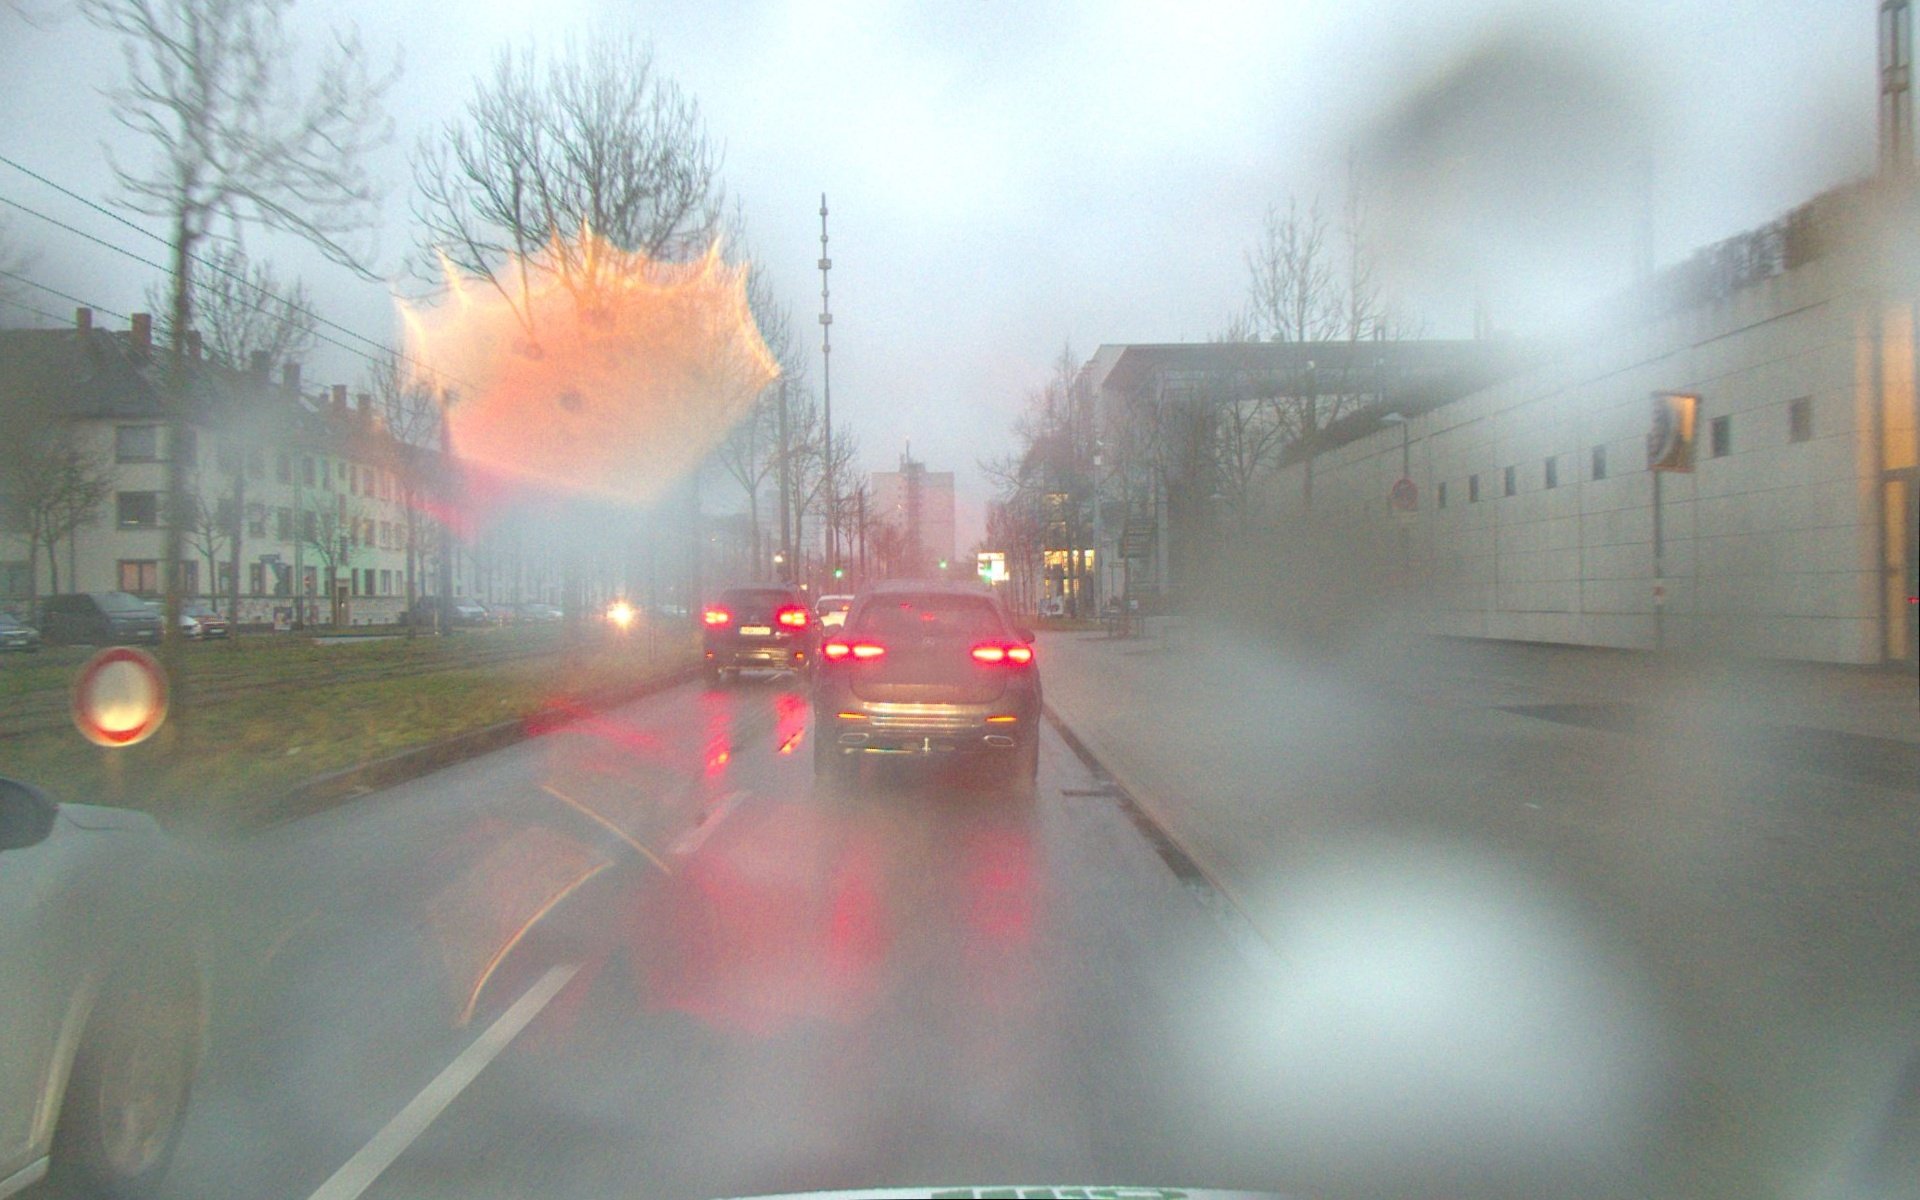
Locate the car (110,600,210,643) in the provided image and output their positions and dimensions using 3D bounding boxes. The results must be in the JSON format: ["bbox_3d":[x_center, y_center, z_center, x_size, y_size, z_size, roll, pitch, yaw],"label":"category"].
[{"bbox_3d":[-27.815,0.732,57.469,3.964,1.251,1.343,3,-1,36],"label":"car"}]

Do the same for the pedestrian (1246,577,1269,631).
[{"bbox_3d":[9.152,0.120,50.870,0.658,1.640,0.615,1,-1,13],"label":"pedestrian"}]

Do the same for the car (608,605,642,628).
[{"bbox_3d":[-22.767,1.097,112.410,1.514,1.530,3.783,1,0,0],"label":"car"}]

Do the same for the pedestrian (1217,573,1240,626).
[{"bbox_3d":[8.452,-0.019,52.037,0.658,1.653,0.615,1,-1,15],"label":"pedestrian"}]

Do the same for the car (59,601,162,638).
[{"bbox_3d":[-27.560,0.643,53.658,2.860,1.007,1.789,3,-1,34],"label":"car"}]

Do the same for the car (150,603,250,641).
[{"bbox_3d":[-28.122,0.804,61.172,4.027,1.181,1.704,3,-1,39],"label":"car"}]

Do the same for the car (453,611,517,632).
[{"bbox_3d":[-27.915,1.252,97.212,3.496,1.161,1.732,1,0,32],"label":"car"}]

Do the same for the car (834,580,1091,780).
[{"bbox_3d":[-0.004,0.633,14.597,1.953,1.509,3.699,1,-1,-1],"label":"car"}]

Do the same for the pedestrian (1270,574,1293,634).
[{"bbox_3d":[9.856,0.132,50.722,0.658,1.809,0.615,1,-1,13],"label":"pedestrian"}]

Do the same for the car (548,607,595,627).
[{"bbox_3d":[-28.009,1.234,119.212,2.874,1.359,1.733,1,0,32],"label":"car"}]

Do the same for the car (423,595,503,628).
[{"bbox_3d":[-28.095,0.641,93.505,4.562,1.754,1.828,1,0,33],"label":"car"}]

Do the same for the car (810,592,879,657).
[{"bbox_3d":[-3.110,0.652,45.128,1.655,1.664,3.473,1,0,-1],"label":"car"}]

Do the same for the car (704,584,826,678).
[{"bbox_3d":[-3.314,0.510,28.709,1.781,1.476,3.998,1,0,-3],"label":"car"}]

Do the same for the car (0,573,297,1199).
[{"bbox_3d":[-2.704,0.680,2.697,1.654,1.500,4.000,1,0,-1],"label":"car"}]

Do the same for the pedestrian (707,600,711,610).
[{"bbox_3d":[-31.240,0.615,206.015,0.343,1.205,0.428,1,-1,-41],"label":"pedestrian"}]

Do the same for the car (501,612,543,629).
[{"bbox_3d":[-28.052,1.305,105.949,2.341,1.067,1.433,1,1,32],"label":"car"}]

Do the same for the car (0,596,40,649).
[{"bbox_3d":[-27.932,0.593,46.637,3.285,1.443,1.876,1,-2,25],"label":"car"}]

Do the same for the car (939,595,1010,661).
[{"bbox_3d":[0.350,0.720,44.186,1.817,1.664,3.473,1,0,-1],"label":"car"}]

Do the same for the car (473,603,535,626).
[{"bbox_3d":[-27.519,0.877,99.890,3.504,1.332,1.682,1,0,32],"label":"car"}]
